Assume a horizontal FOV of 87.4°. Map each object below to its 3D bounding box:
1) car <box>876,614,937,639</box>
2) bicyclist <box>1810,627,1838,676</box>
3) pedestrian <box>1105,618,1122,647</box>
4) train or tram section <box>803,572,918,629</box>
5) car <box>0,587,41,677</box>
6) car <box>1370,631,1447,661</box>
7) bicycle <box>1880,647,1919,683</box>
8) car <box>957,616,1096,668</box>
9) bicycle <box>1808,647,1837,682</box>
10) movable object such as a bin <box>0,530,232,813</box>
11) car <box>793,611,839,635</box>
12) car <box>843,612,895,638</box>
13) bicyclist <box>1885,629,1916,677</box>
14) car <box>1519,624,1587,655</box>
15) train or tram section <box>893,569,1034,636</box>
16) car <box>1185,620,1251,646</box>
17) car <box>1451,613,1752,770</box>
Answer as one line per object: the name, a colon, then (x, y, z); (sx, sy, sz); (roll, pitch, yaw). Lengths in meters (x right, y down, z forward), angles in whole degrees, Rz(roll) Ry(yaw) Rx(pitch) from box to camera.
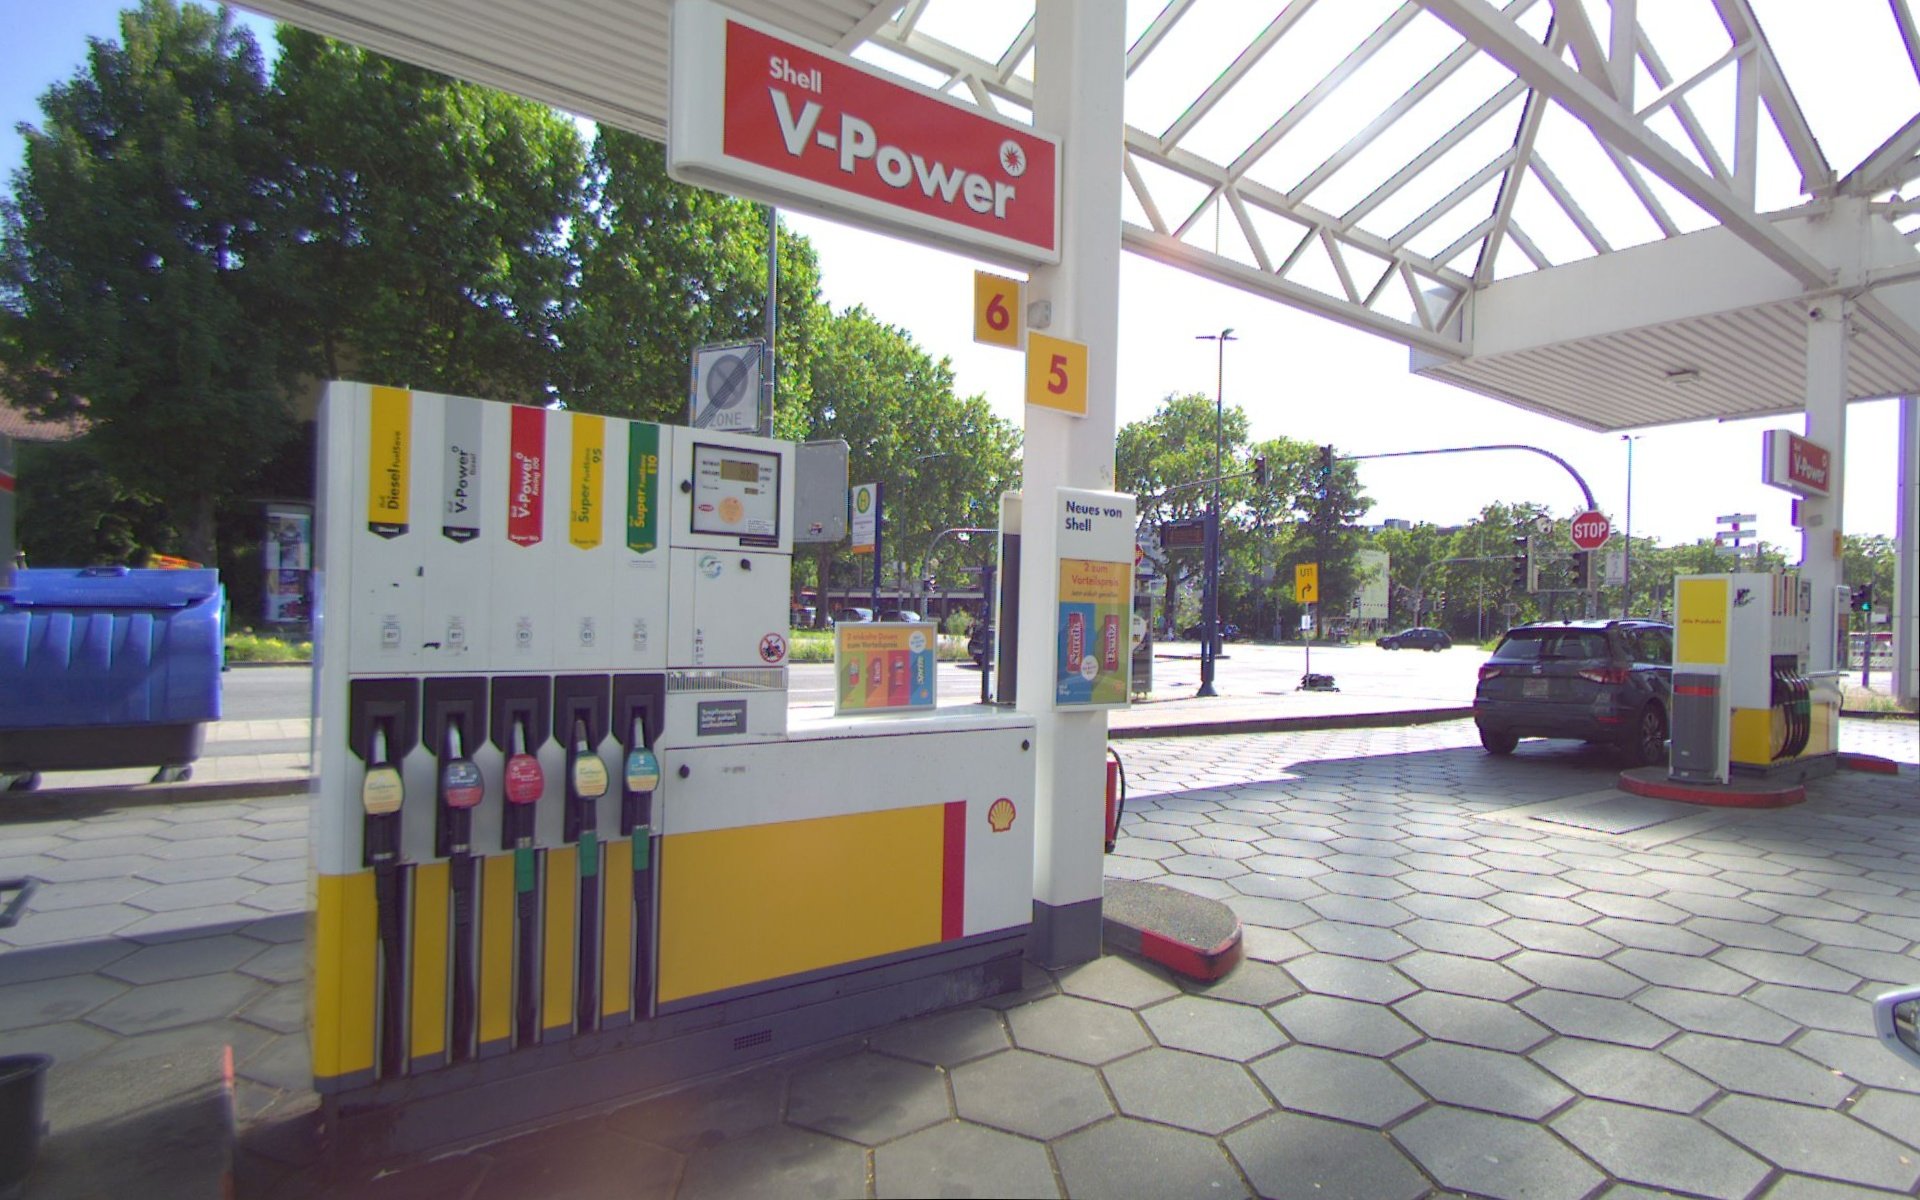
car: (-3.407, 1.694, 63.516); (1.855, 1.532, 3.951); (3, -3, -42)
bicyclist: (29.615, 1.759, 34.432); (0.631, 1.601, 1.166); (1, 0, 45)
pedestrian: (9.361, 1.980, 61.222); (0.677, 1.745, 0.865); (-1, -3, 43)
train or tram section: (-9.061, -0.015, 88.041); (2.306, 4.549, 15.763); (2, -1, -36)
car: (-21.039, 0.573, 19.669); (4.356, 1.792, 1.977); (2, -1, -40)
car: (28.628, 2.916, 64.237); (4.126, 1.829, 2.002); (0, -2, 13)
bicycle: (31.306, 2.149, 33.482); (0.515, 1.096, 1.863); (2, 0, 30)
car: (2.018, 1.252, 29.987); (3.965, 1.385, 1.667); (2, 1, -37)
bicycle: (29.464, 2.190, 34.301); (0.631, 1.096, 2.014); (1, -1, 44)
movable object such as a bin: (-5.851, 0.466, 6.864); (1.324, 1.710, 1.330); (2, -3, -35)
car: (-10.762, 1.767, 74.980); (1.850, 1.711, 3.962); (2, -3, -34)
car: (-6.263, 1.748, 68.892); (1.850, 1.711, 3.962); (2, -3, -34)
bicyclist: (31.356, 1.755, 33.488); (0.525, 1.564, 0.864); (2, 0, 30)
car: (40.642, 2.700, 68.851); (4.389, 2.040, 1.987); (2, -3, -26)
train or tram section: (-0.107, 0.167, 75.587); (2.306, 4.549, 14.791); (2, -1, -36)
car: (18.414, 2.359, 71.681); (4.143, 1.829, 1.993); (-1, -3, 36)
car: (7.653, 0.996, 11.858); (3.963, 1.552, 1.731); (3, -2, -37)
